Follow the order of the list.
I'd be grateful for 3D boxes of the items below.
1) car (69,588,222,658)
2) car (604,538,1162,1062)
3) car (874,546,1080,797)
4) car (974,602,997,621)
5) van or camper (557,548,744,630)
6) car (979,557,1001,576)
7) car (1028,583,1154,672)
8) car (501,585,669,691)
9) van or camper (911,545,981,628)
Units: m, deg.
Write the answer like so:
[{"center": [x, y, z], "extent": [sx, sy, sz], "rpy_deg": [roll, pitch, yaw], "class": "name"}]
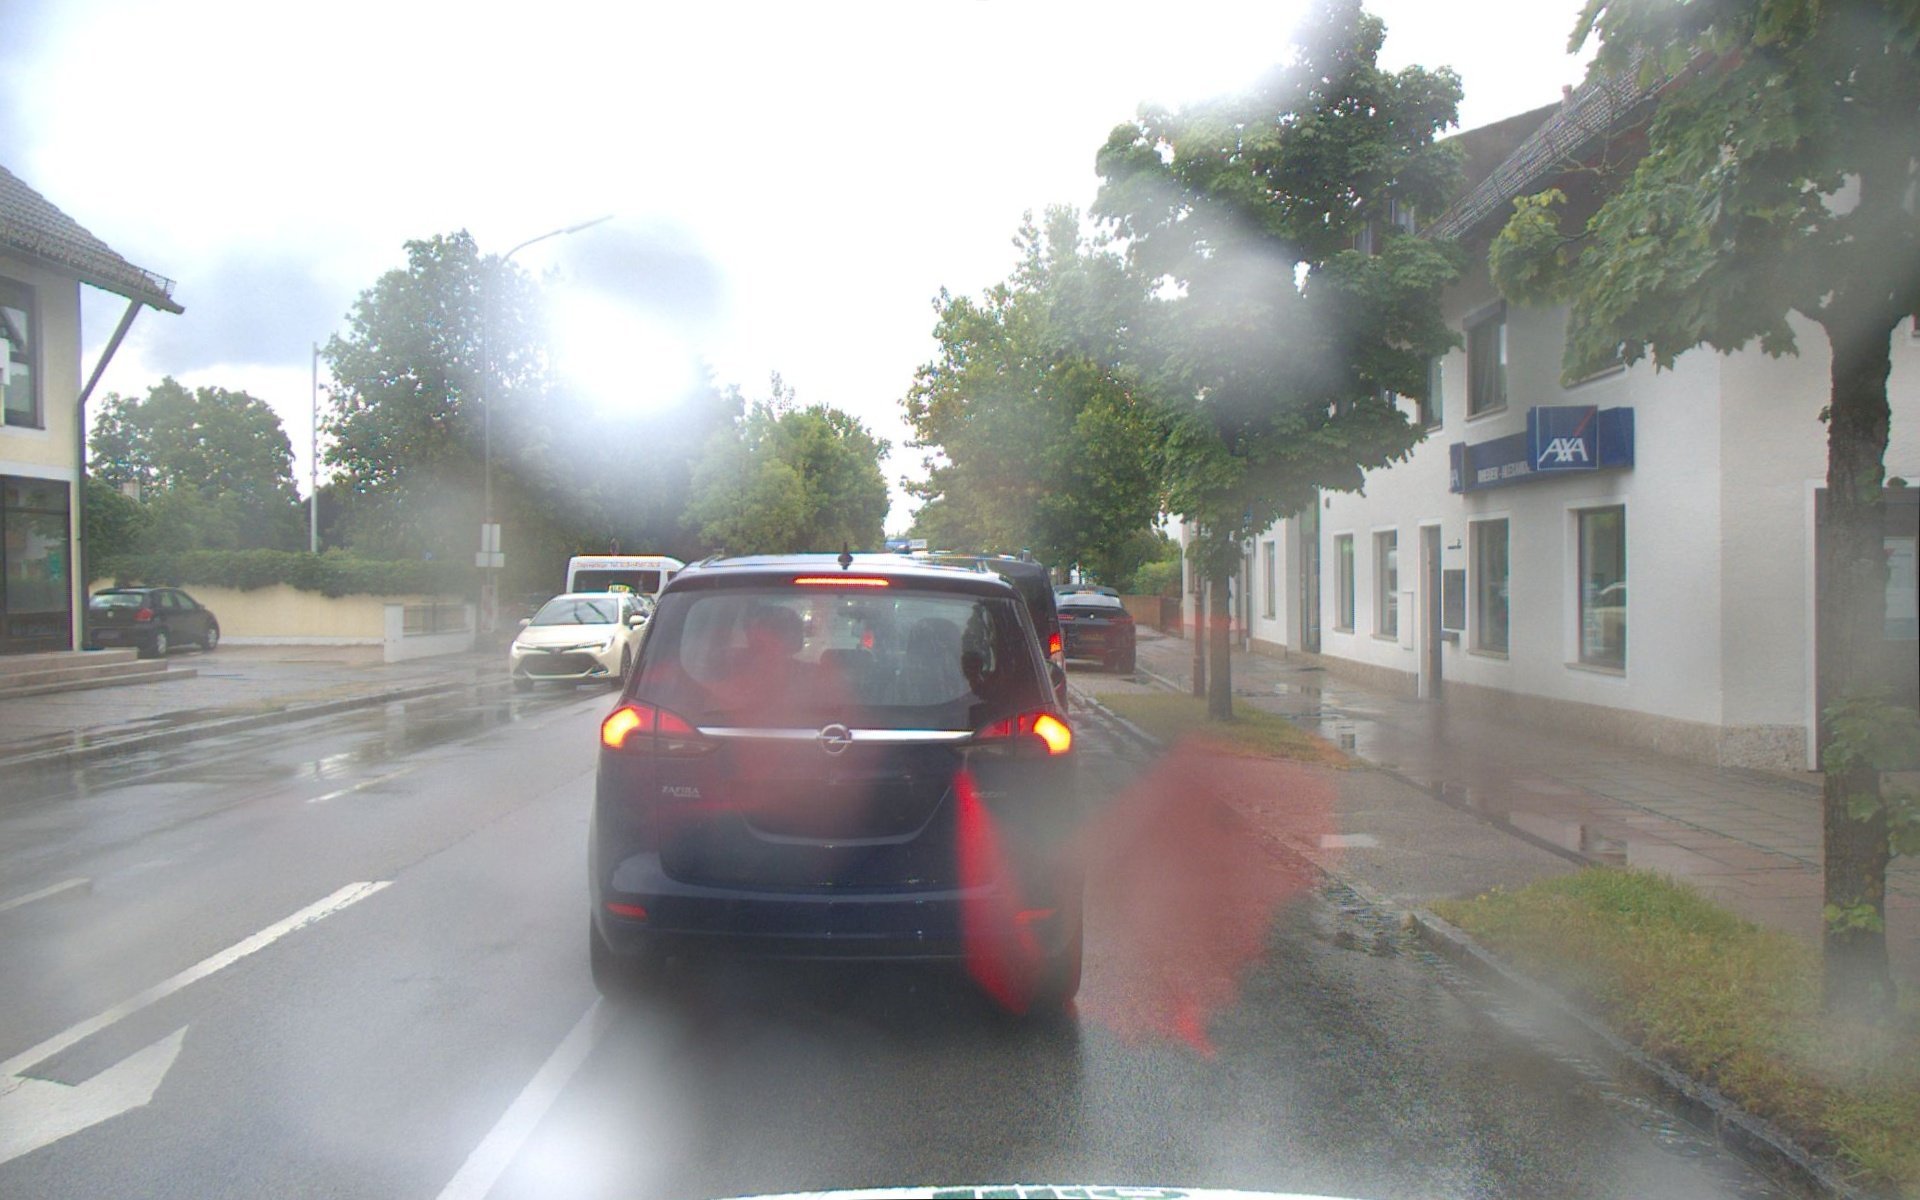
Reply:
[{"center": [-17.549, 0.461, 35.798], "extent": [1.574, 1.404, 3.508], "rpy_deg": [-1, 0, -1], "class": "car"}, {"center": [-0.266, 0.622, 7.028], "extent": [1.733, 1.632, 3.662], "rpy_deg": [1, 0, -1], "class": "car"}, {"center": [0.101, 0.515, 13.628], "extent": [1.470, 1.807, 3.111], "rpy_deg": [1, 0, -1], "class": "car"}, {"center": [1.851, 0.847, 121.420], "extent": [1.597, 1.402, 3.622], "rpy_deg": [1, 0, -1], "class": "car"}, {"center": [-10.736, -0.391, 57.730], "extent": [6.120, 2.754, 2.101], "rpy_deg": [0, 0, 0], "class": "van or camper"}, {"center": [2.372, -2.635, 130.952], "extent": [1.597, 1.402, 3.622], "rpy_deg": [-1, 0, -1], "class": "car"}, {"center": [2.520, 0.512, 32.749], "extent": [2.075, 1.609, 3.934], "rpy_deg": [1, 0, -2], "class": "car"}, {"center": [-5.985, 0.554, 26.856], "extent": [1.716, 1.537, 4.230], "rpy_deg": [-2, 0, 0], "class": "car"}, {"center": [-0.501, -0.474, 57.111], "extent": [2.312, 2.712, 5.370], "rpy_deg": [0, 0, -1], "class": "van or camper"}]
